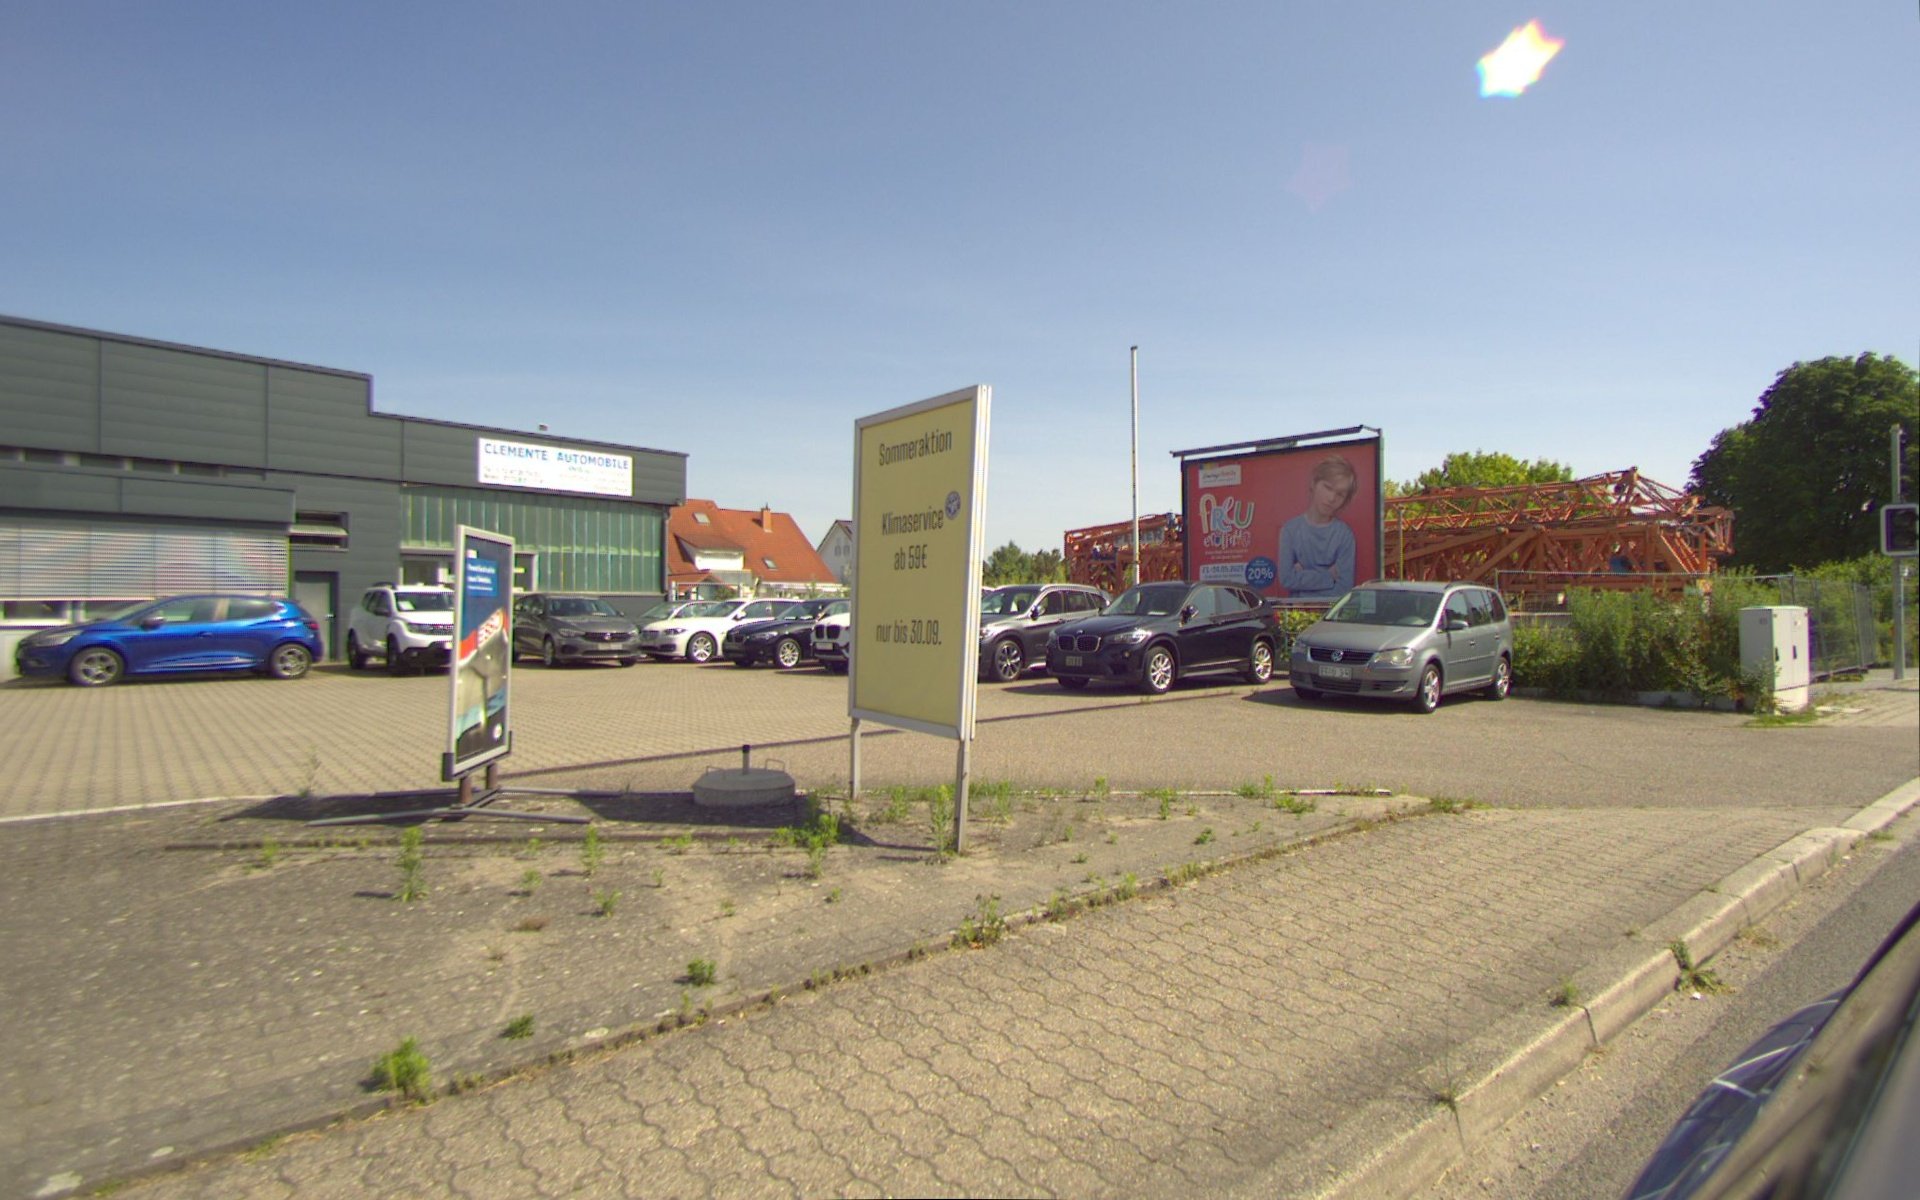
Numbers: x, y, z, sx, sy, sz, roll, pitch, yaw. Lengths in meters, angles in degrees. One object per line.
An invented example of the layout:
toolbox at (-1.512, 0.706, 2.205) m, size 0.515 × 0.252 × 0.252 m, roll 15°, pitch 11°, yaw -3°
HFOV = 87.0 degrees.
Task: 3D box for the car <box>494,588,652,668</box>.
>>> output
car at (-8.065, 0.513, 20.932) m, size 1.782 × 1.492 × 3.680 m, roll 0°, pitch 0°, yaw -44°

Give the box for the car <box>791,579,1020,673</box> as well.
car at (-0.951, 0.421, 19.633) m, size 1.998 × 1.612 × 4.271 m, roll 0°, pitch 0°, yaw 43°

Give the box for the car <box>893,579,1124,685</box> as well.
car at (0.942, 0.467, 17.560) m, size 1.841 × 1.612 × 4.042 m, roll 0°, pitch 0°, yaw 43°

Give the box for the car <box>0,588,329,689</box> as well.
car at (-12.979, 0.528, 16.660) m, size 1.790 × 1.450 × 4.067 m, roll 0°, pitch 0°, yaw 40°

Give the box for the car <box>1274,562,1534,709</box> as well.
car at (6.229, 0.432, 13.946) m, size 4.297 × 1.707 × 1.805 m, roll 2°, pitch 0°, yaw -45°

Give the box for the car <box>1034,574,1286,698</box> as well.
car at (3.120, 0.450, 15.318) m, size 1.969 × 1.612 × 3.938 m, roll 0°, pitch 0°, yaw 43°

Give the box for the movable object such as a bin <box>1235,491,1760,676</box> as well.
movable object such as a bin at (14.403, -0.412, 29.130) m, size 2.813 × 4.218 × 13.276 m, roll 0°, pitch 0°, yaw -40°

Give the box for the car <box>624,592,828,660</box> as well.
car at (-5.301, 0.526, 23.329) m, size 1.841 × 1.404 × 4.308 m, roll 0°, pitch 1°, yaw 43°

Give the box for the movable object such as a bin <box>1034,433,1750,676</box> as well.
movable object such as a bin at (8.385, -0.799, 23.947) m, size 2.725 × 4.069 × 16.079 m, roll 0°, pitch 0°, yaw -40°

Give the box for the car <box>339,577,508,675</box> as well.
car at (-10.241, 0.428, 19.181) m, size 1.782 × 1.654 × 4.143 m, roll 0°, pitch 0°, yaw -44°

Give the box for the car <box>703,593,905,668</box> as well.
car at (-3.196, 0.568, 21.271) m, size 1.841 × 1.404 × 3.938 m, roll 0°, pitch 1°, yaw 43°
